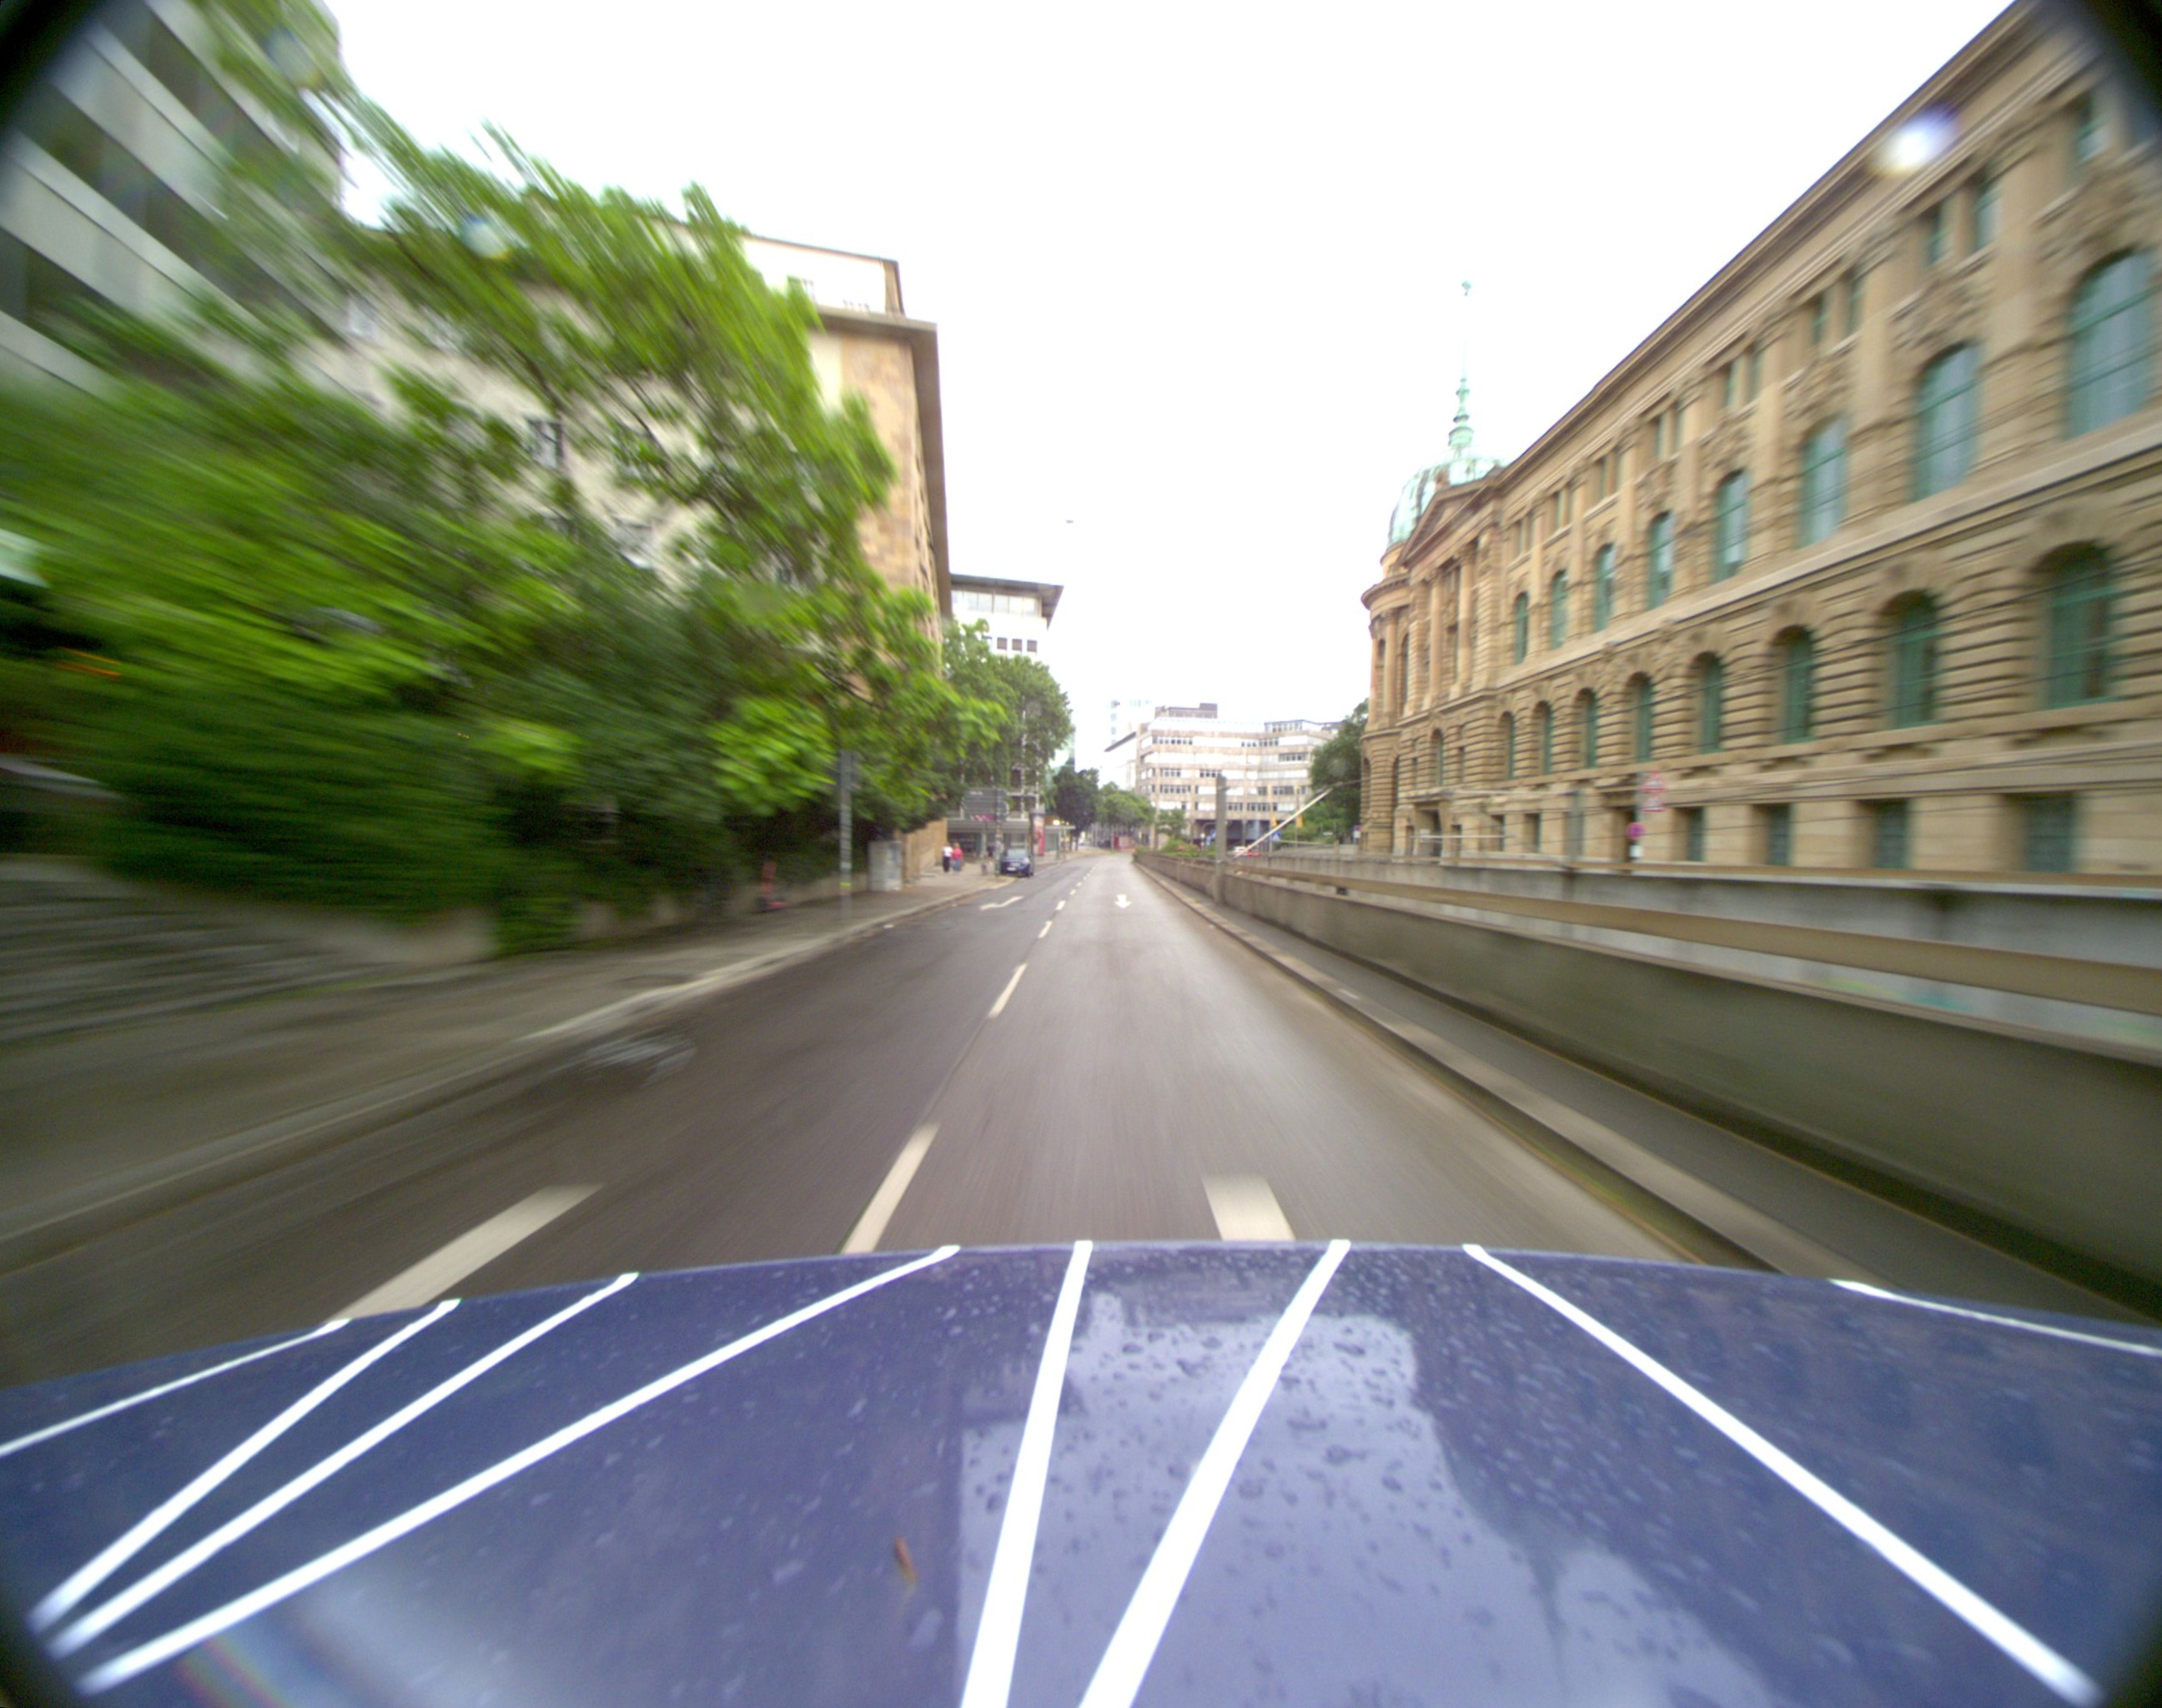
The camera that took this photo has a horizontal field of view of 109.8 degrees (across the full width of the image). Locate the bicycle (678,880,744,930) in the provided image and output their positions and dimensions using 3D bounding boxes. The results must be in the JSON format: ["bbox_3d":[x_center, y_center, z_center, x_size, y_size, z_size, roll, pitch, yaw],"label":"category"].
[{"bbox_3d":[-6.511,0.884,13.420,0.501,0.750,1.211,5,1,2],"label":"bicycle"}]

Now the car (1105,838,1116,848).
[{"bbox_3d":[6.465,-2.489,165.564,1.999,2.068,3.998,0,2,-2],"label":"car"}]

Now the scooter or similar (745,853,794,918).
[{"bbox_3d":[-6.357,0.619,15.570,0.448,1.252,1.211,2,1,2],"label":"scooter or similar"}]

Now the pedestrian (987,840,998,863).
[{"bbox_3d":[-7.102,-0.212,61.066,0.781,1.762,0.862,0,2,1],"label":"pedestrian"}]

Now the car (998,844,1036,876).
[{"bbox_3d":[-3.522,0.293,42.506,1.773,1.610,4.156,0,2,0],"label":"car"}]

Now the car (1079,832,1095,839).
[{"bbox_3d":[1.488,-4.807,198.512,3.776,1.641,1.795,2,1,-22],"label":"car"}]

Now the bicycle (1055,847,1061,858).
[{"bbox_3d":[-2.153,-0.119,71.744,0.490,1.006,1.927,0,2,0],"label":"bicycle"}]

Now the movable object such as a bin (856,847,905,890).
[{"bbox_3d":[-6.643,0.464,25.263,1.242,1.303,1.234,2,2,3],"label":"movable object such as a bin"}]

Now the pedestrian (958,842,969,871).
[{"bbox_3d":[-5.986,0.121,38.722,0.526,1.484,0.673,0,2,-8],"label":"pedestrian"}]

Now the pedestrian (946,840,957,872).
[{"bbox_3d":[-6.557,0.102,38.372,0.526,1.594,0.673,0,2,-13],"label":"pedestrian"}]
